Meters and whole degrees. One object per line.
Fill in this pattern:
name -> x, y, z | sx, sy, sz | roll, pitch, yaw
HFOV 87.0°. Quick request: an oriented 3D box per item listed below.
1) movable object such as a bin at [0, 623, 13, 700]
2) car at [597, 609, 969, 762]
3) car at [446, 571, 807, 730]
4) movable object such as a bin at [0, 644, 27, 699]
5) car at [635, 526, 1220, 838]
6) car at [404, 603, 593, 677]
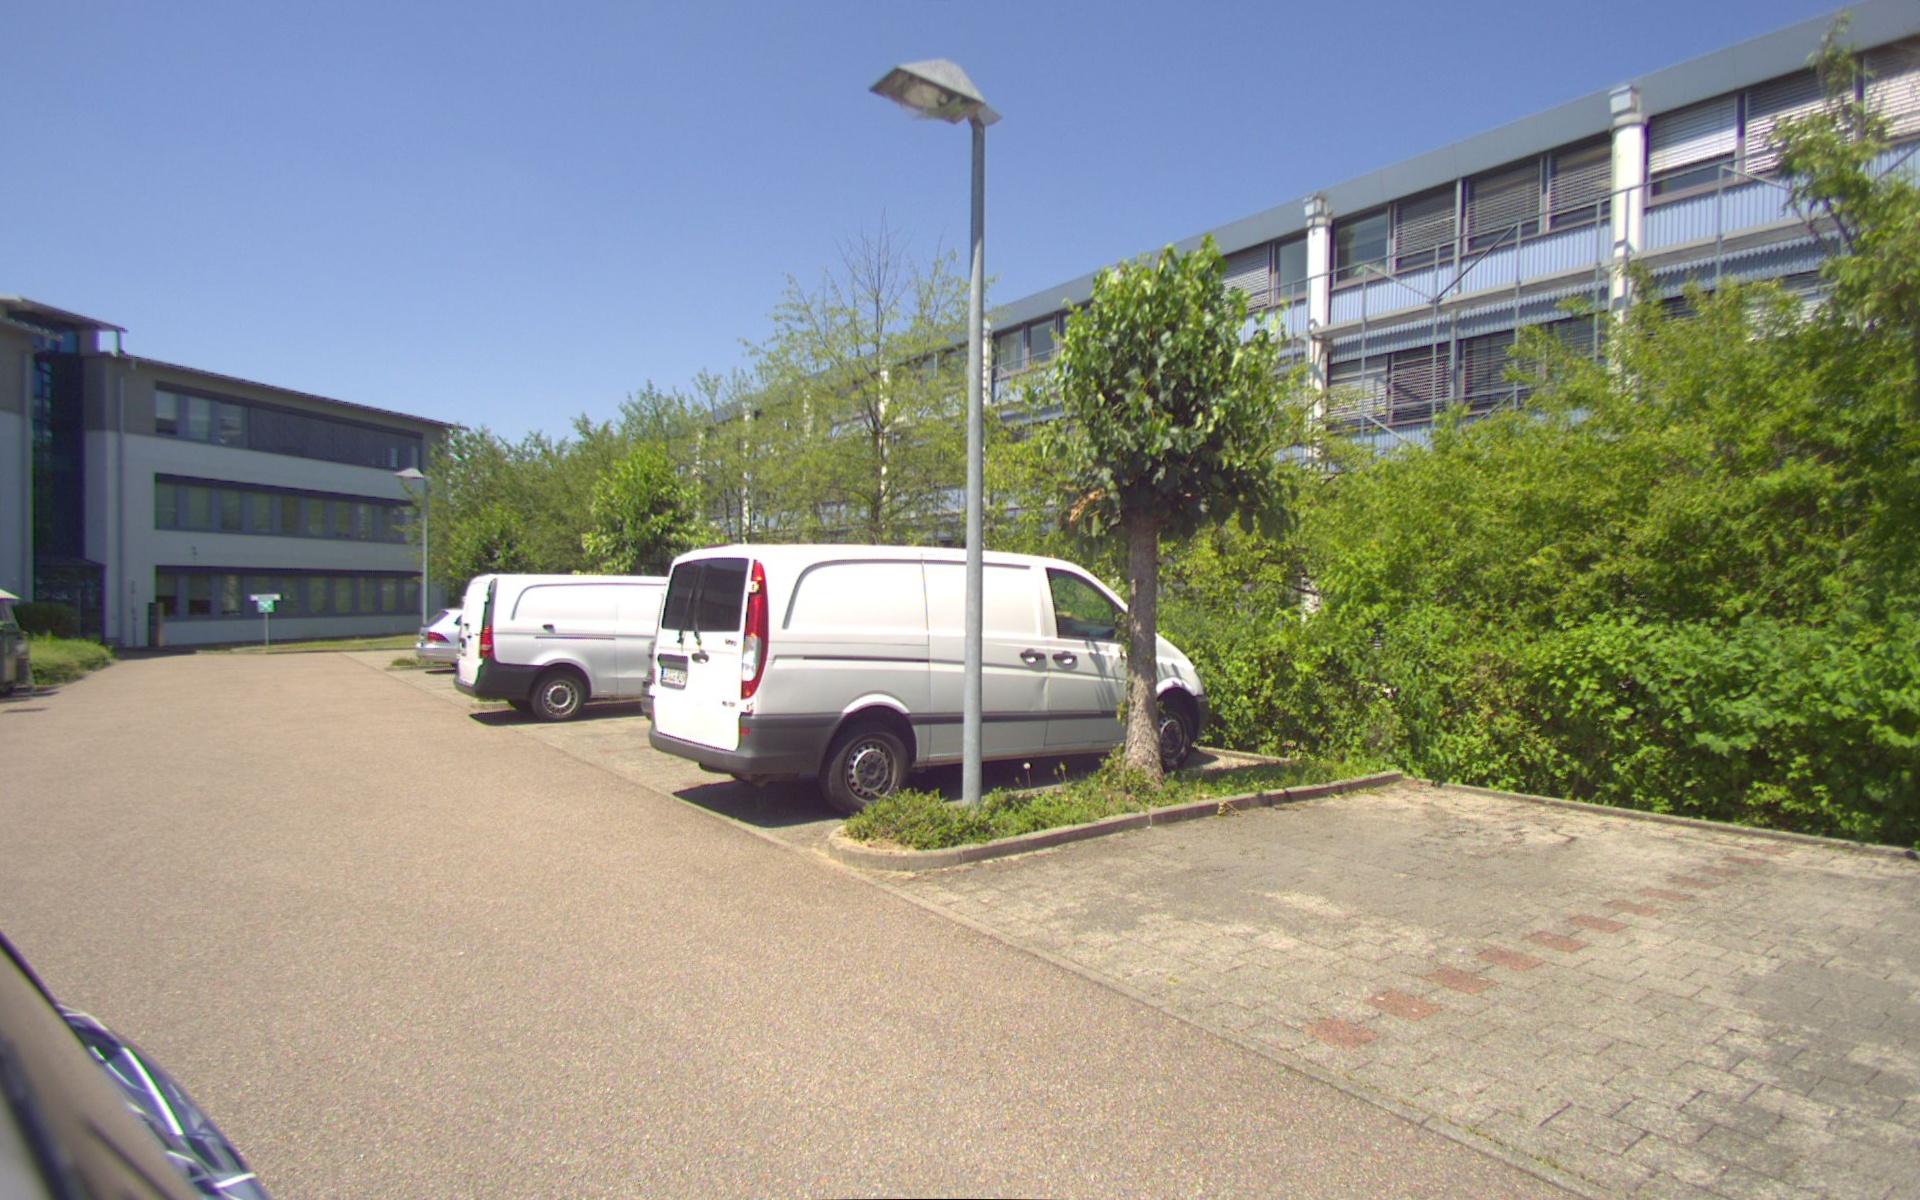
movable object such as a bin -> -17.154, 1.068, 17.220 | 1.341, 1.306, 1.046 | 0, -1, -31
car -> -1.876, 0.815, 11.288 | 3.789, 1.404, 1.580 | 0, 0, -38
car -> -4.560, 0.600, 14.170 | 4.447, 1.896, 1.833 | 0, 0, -38
movable object such as a bin -> -17.338, 1.282, 18.198 | 0.679, 0.956, 0.724 | 0, -1, -31
car -> -0.069, 0.506, 8.392 | 4.659, 1.920, 1.833 | 0, 0, -38
car -> -10.653, 0.874, 23.449 | 3.704, 1.569, 1.664 | 0, 0, -38
